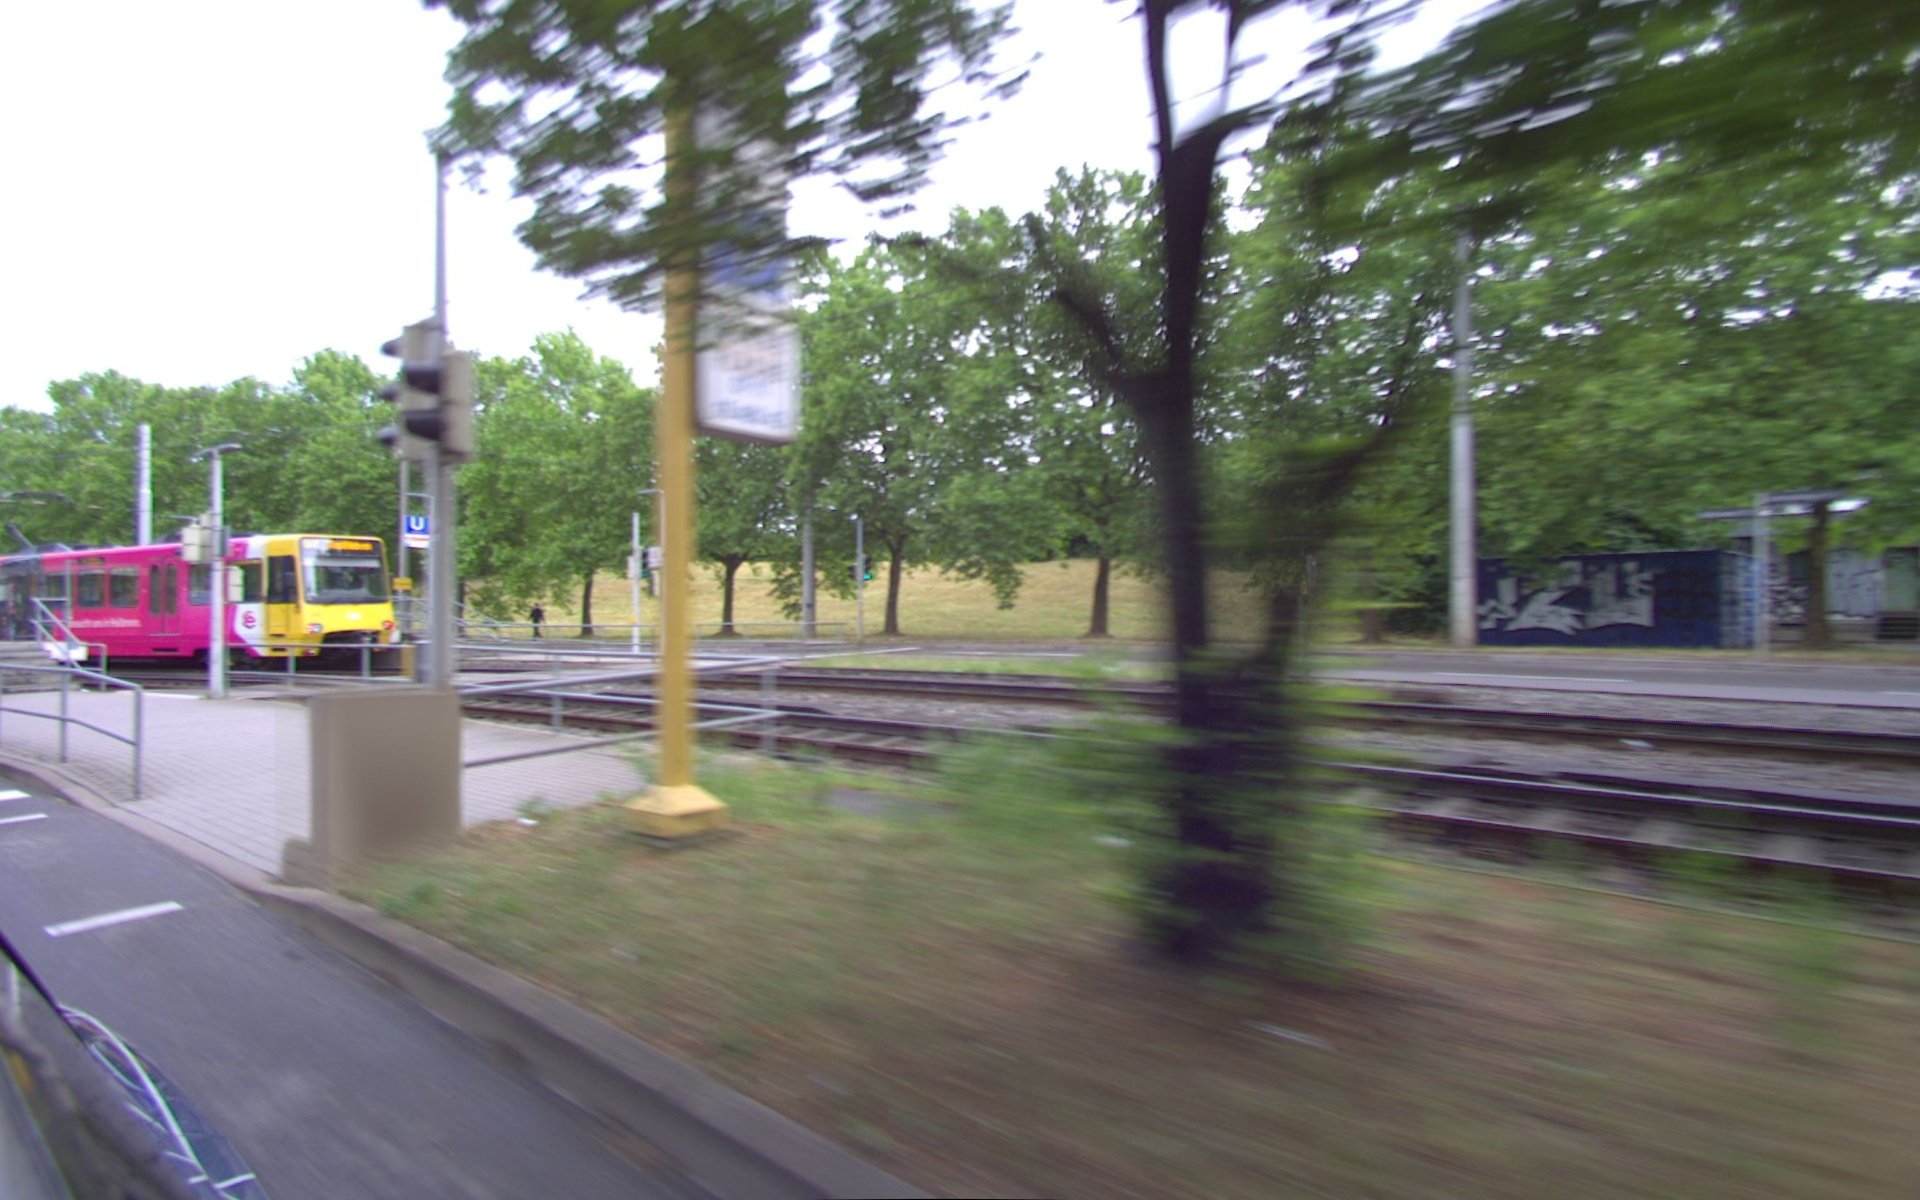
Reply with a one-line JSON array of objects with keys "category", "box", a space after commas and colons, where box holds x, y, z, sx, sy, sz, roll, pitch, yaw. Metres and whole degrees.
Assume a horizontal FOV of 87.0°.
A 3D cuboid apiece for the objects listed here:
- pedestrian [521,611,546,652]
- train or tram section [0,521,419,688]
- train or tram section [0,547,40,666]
[{"category": "pedestrian", "box": [-19.565, 1.419, 46.429, 0.763, 1.835, 0.722, -1, 0, 39]}, {"category": "train or tram section", "box": [-23.669, 0.131, 29.573, 19.219, 3.990, 2.853, -1, 2, 25]}, {"category": "train or tram section", "box": [-41.294, 0.313, 37.393, 19.202, 4.000, 2.856, -1, 2, 23]}]
